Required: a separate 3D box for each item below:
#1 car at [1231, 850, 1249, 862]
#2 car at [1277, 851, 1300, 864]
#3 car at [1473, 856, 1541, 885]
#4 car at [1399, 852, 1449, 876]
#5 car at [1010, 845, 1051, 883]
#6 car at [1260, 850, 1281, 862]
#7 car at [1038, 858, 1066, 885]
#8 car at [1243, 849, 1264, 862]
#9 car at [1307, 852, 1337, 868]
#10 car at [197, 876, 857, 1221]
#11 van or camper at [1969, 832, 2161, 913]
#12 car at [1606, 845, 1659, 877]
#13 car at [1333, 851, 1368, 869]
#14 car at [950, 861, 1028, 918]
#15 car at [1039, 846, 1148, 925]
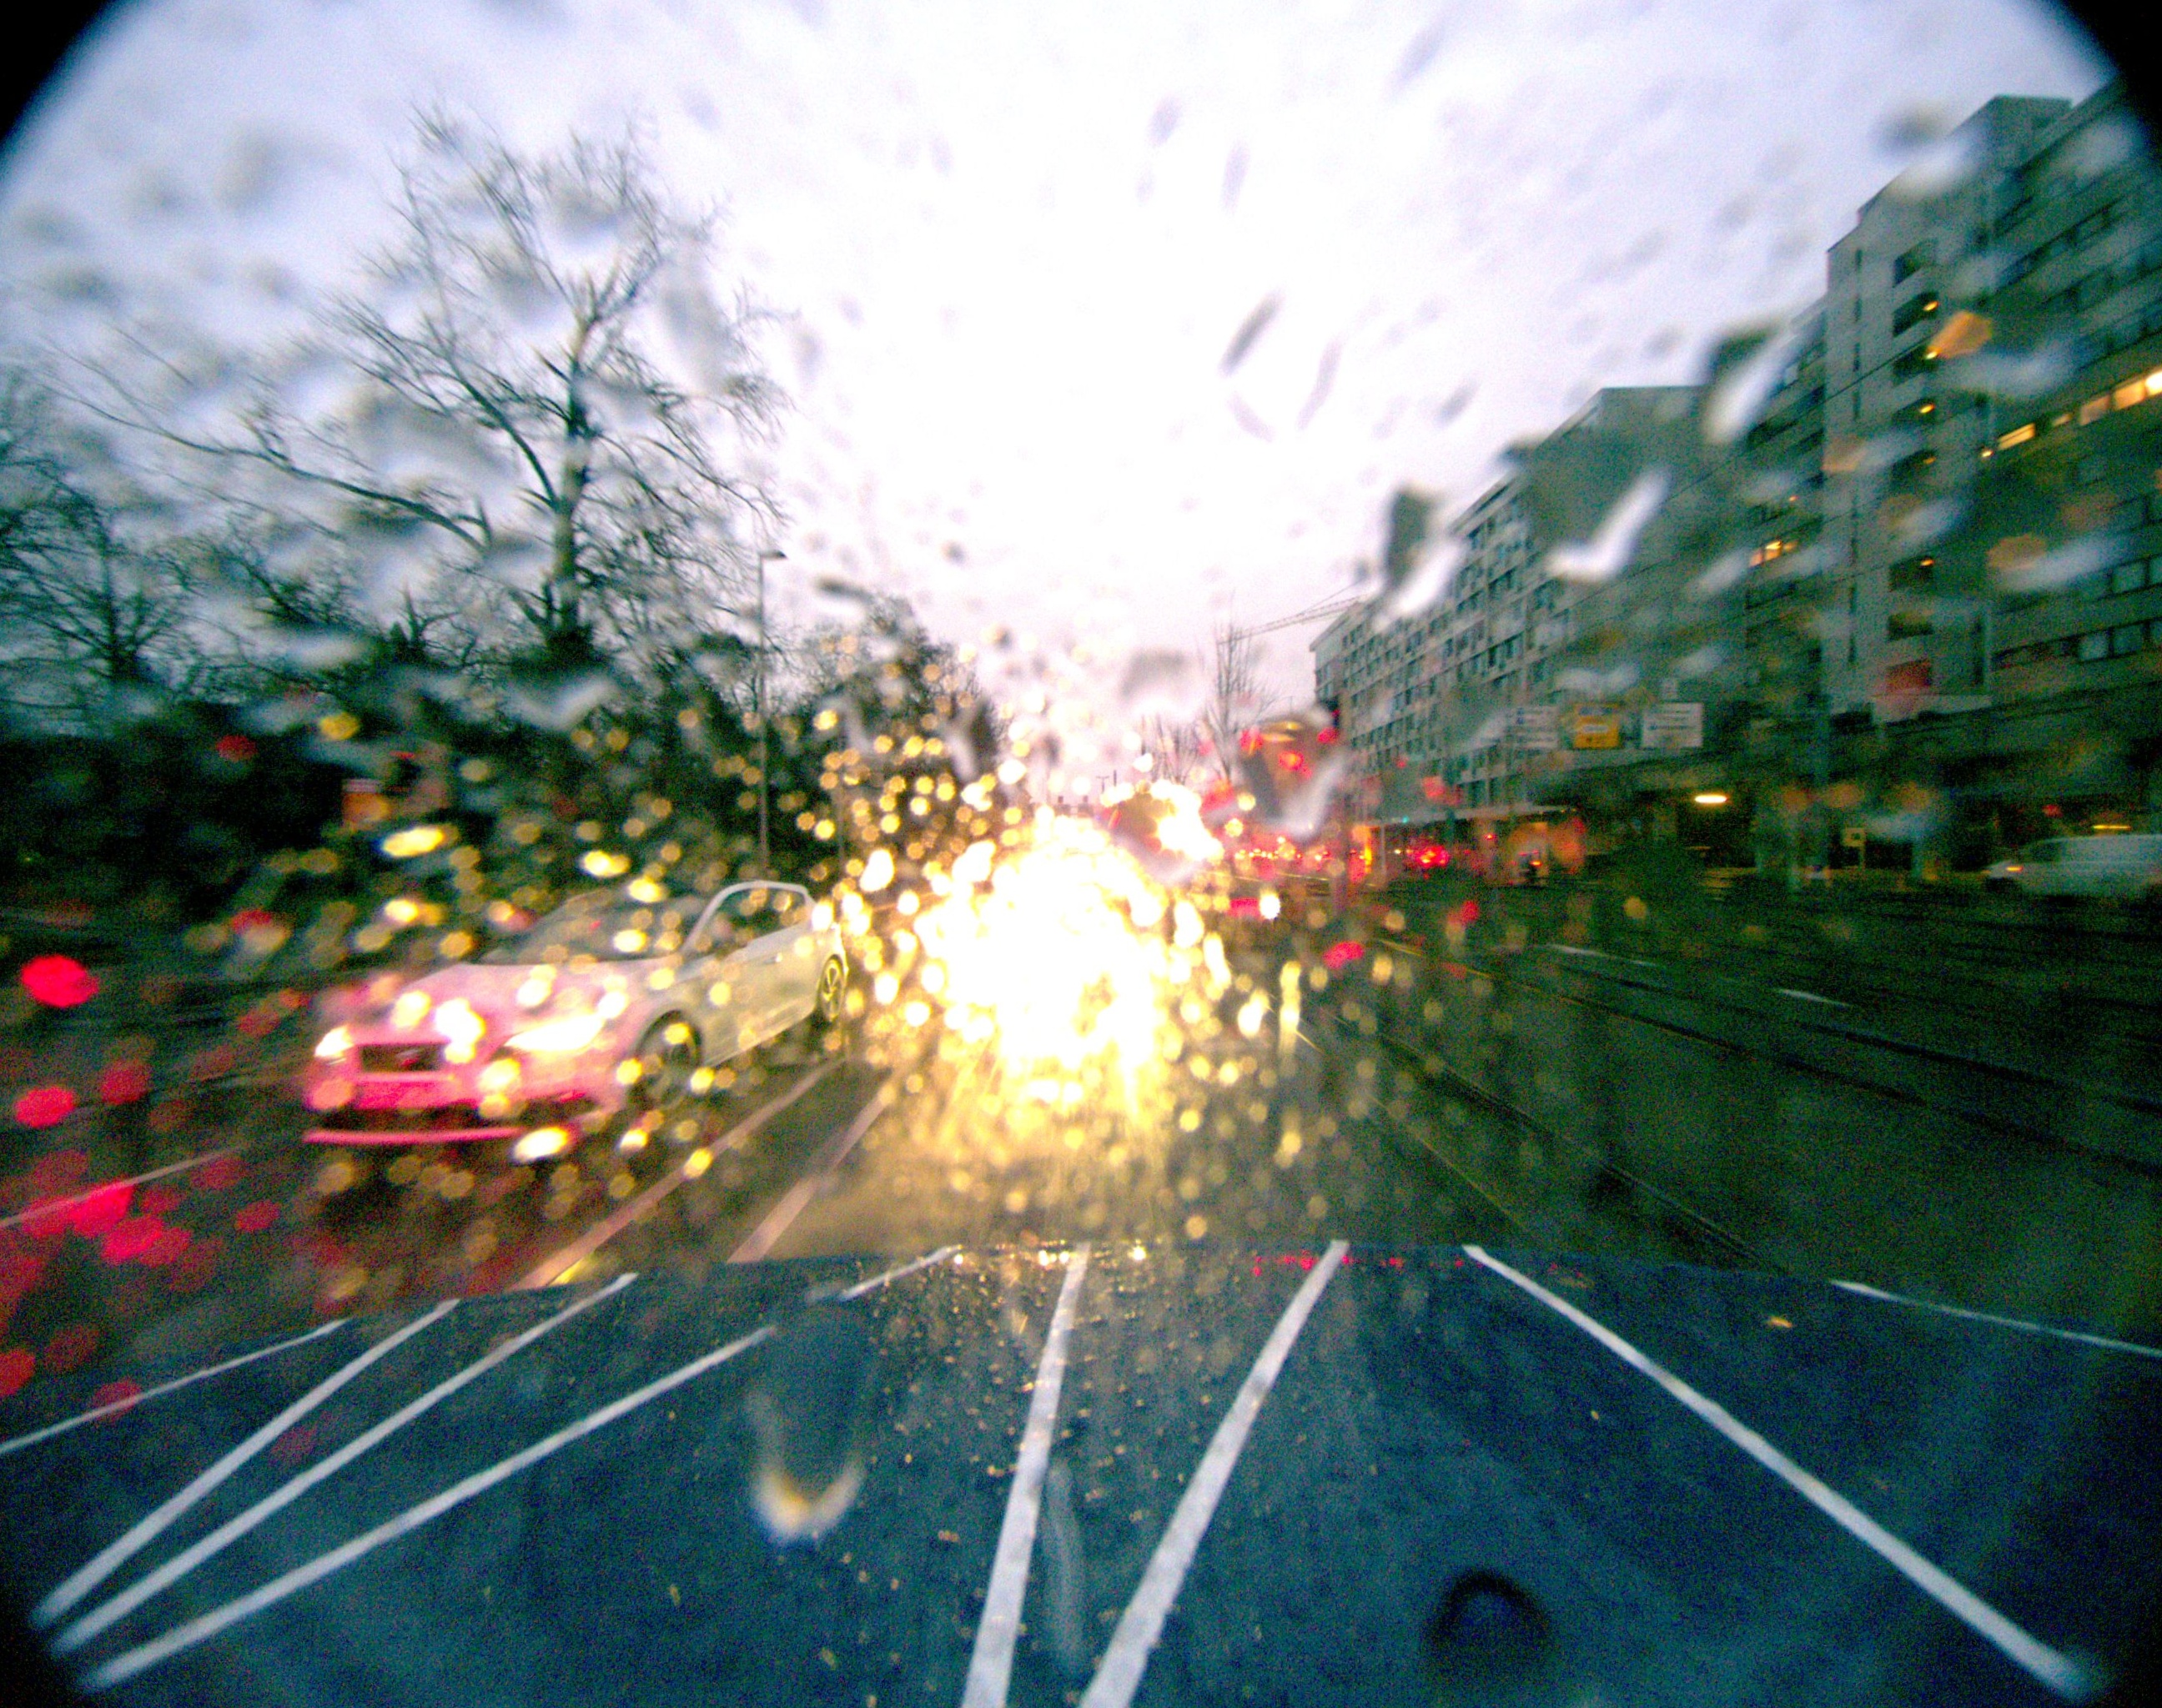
[{"bbox_3d":[20.990,0.251,100.376,1.596,1.440,3.872,-1,1,-1],"label":"car"},{"bbox_3d":[24.229,0.385,88.916,1.596,1.440,3.872,-1,1,-1],"label":"car"},{"bbox_3d":[23.612,0.864,42.269,1.677,1.440,3.766,-1,1,-1],"label":"car"},{"bbox_3d":[23.978,0.683,53.278,1.754,1.503,3.889,-1,1,-1],"label":"car"},{"bbox_3d":[-2.396,0.422,37.052,1.679,1.739,3.864,-1,1,1],"label":"car"},{"bbox_3d":[23.852,0.198,95.839,1.596,1.440,3.872,-1,1,-1],"label":"car"},{"bbox_3d":[-1.962,1.173,52.042,1.679,1.670,3.864,-1,1,1],"label":"car"},{"bbox_3d":[20.973,0.195,92.433,1.596,1.440,3.872,-1,1,-1],"label":"car"},{"bbox_3d":[24.282,0.565,76.691,1.754,1.440,3.872,-1,1,-1],"label":"car"},{"bbox_3d":[-3.295,1.010,5.700,1.778,1.453,4.041,-1,1,4],"label":"car"},{"bbox_3d":[28.603,0.444,20.816,1.998,2.085,5.654,-1,0,1],"label":"van or camper"},{"bbox_3d":[29.830,0.352,41.045,3.785,1.609,1.676,-2,1,-44],"label":"car"},{"bbox_3d":[24.088,0.507,68.045,1.754,1.440,3.872,-1,1,-1],"label":"car"},{"bbox_3d":[-2.790,1.028,23.836,1.880,1.490,4.076,-1,1,1],"label":"car"},{"bbox_3d":[0.266,0.613,17.245,2.160,1.490,4.007,-1,1,1],"label":"car"}]
